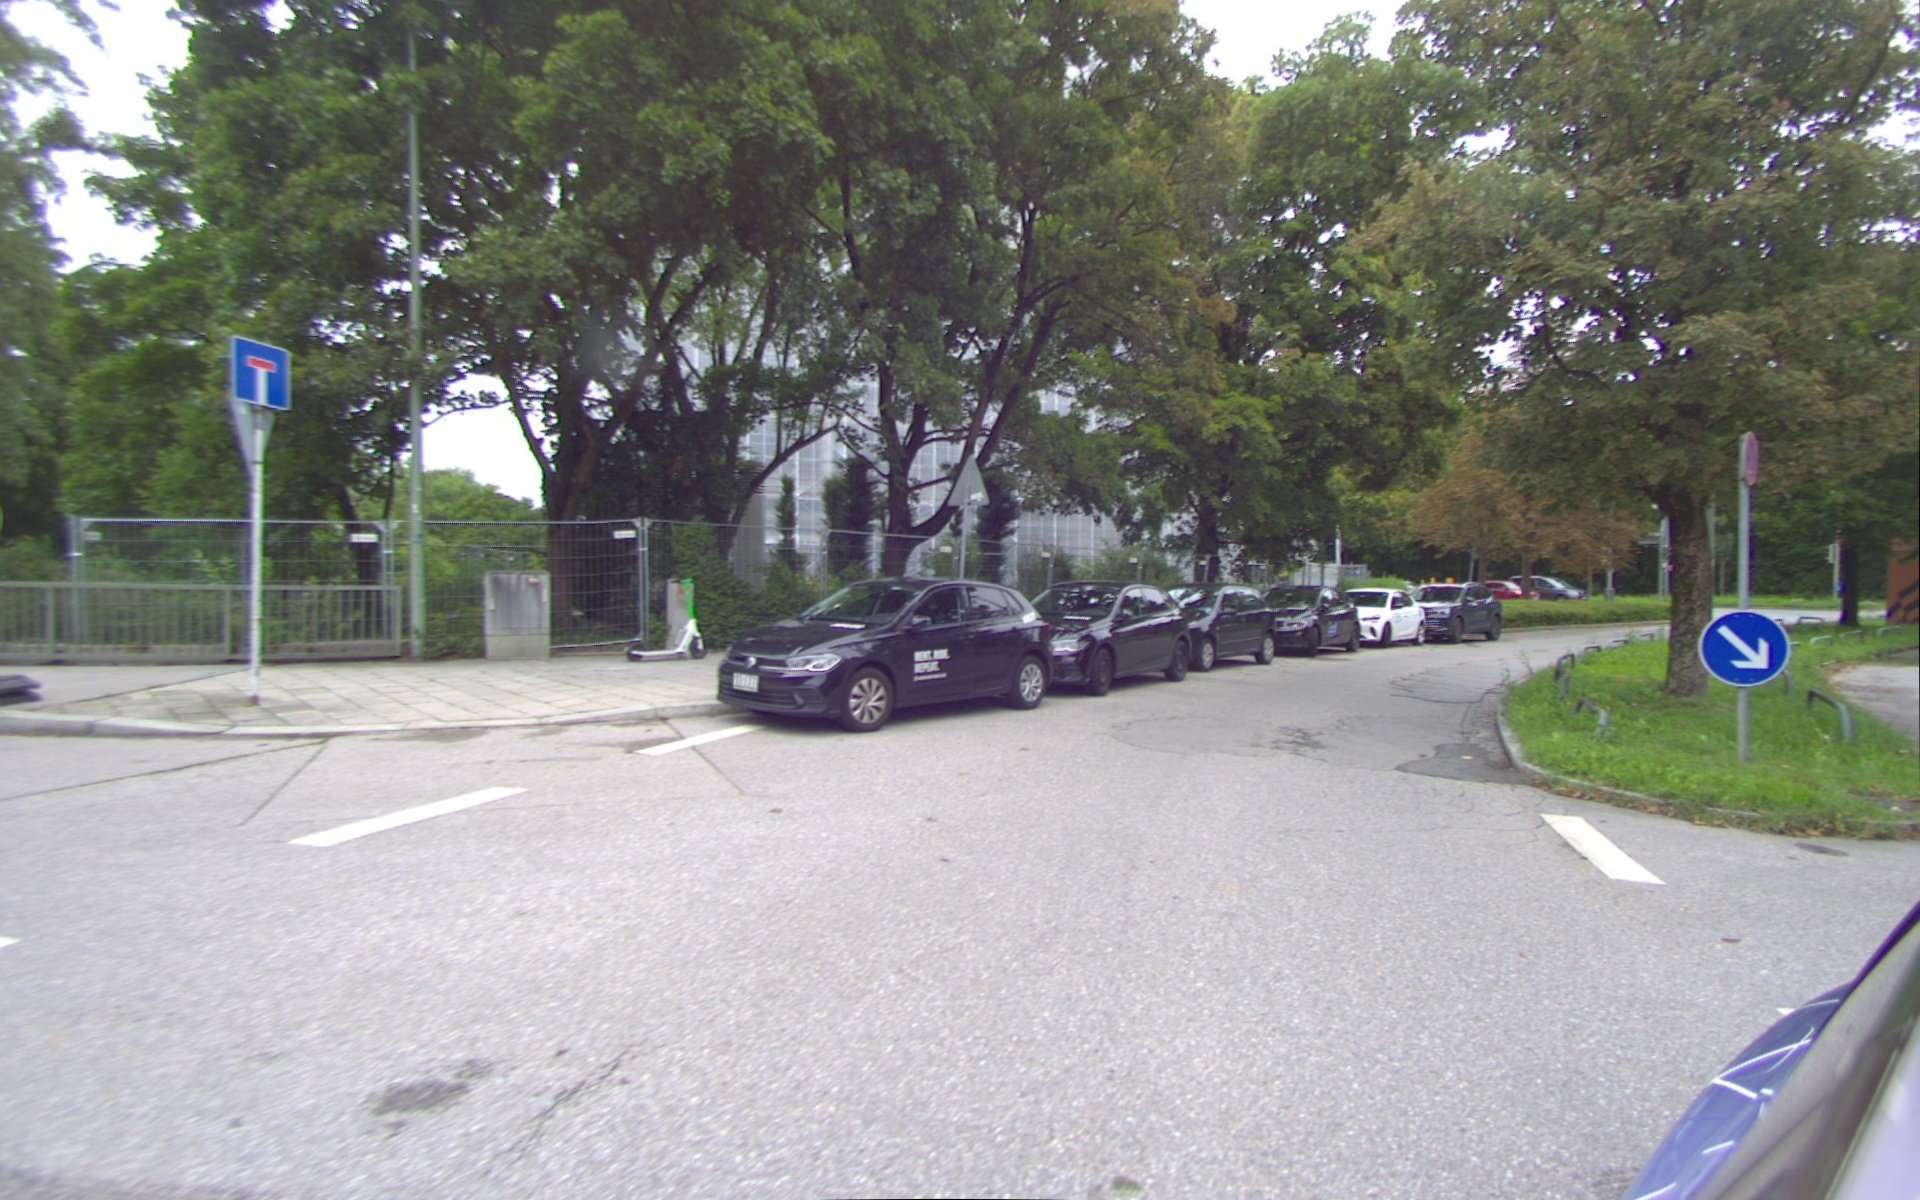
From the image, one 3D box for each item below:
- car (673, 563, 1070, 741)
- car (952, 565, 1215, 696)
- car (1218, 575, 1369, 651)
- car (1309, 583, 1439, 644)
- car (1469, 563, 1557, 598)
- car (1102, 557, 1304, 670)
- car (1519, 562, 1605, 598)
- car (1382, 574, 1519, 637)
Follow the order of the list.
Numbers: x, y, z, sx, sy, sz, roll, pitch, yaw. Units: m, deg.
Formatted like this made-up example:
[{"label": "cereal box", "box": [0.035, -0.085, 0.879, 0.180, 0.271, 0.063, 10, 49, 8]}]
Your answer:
[{"label": "car", "box": [-0.765, 0.395, 10.750, 1.991, 1.450, 3.986, 4, 3, 39]}, {"label": "car", "box": [1.861, 0.319, 14.199, 1.988, 1.560, 3.948, 1, 1, 36]}, {"label": "car", "box": [7.202, 0.223, 21.616, 1.831, 1.479, 3.950, 1, 1, 38]}, {"label": "car", "box": [10.445, 0.290, 25.368, 1.794, 1.401, 4.156, 1, 1, 41]}, {"label": "car", "box": [32.940, -1.185, 60.407, 1.961, 2.039, 4.161, 0, 1, -32]}, {"label": "car", "box": [4.413, 0.170, 18.036, 1.990, 1.727, 3.944, 3, 2, 38]}, {"label": "car", "box": [36.180, -1.218, 60.905, 1.961, 2.039, 4.003, 0, 1, -32]}, {"label": "car", "box": [13.800, 0.170, 28.367, 4.318, 1.626, 1.889, 2, -1, -41]}]
